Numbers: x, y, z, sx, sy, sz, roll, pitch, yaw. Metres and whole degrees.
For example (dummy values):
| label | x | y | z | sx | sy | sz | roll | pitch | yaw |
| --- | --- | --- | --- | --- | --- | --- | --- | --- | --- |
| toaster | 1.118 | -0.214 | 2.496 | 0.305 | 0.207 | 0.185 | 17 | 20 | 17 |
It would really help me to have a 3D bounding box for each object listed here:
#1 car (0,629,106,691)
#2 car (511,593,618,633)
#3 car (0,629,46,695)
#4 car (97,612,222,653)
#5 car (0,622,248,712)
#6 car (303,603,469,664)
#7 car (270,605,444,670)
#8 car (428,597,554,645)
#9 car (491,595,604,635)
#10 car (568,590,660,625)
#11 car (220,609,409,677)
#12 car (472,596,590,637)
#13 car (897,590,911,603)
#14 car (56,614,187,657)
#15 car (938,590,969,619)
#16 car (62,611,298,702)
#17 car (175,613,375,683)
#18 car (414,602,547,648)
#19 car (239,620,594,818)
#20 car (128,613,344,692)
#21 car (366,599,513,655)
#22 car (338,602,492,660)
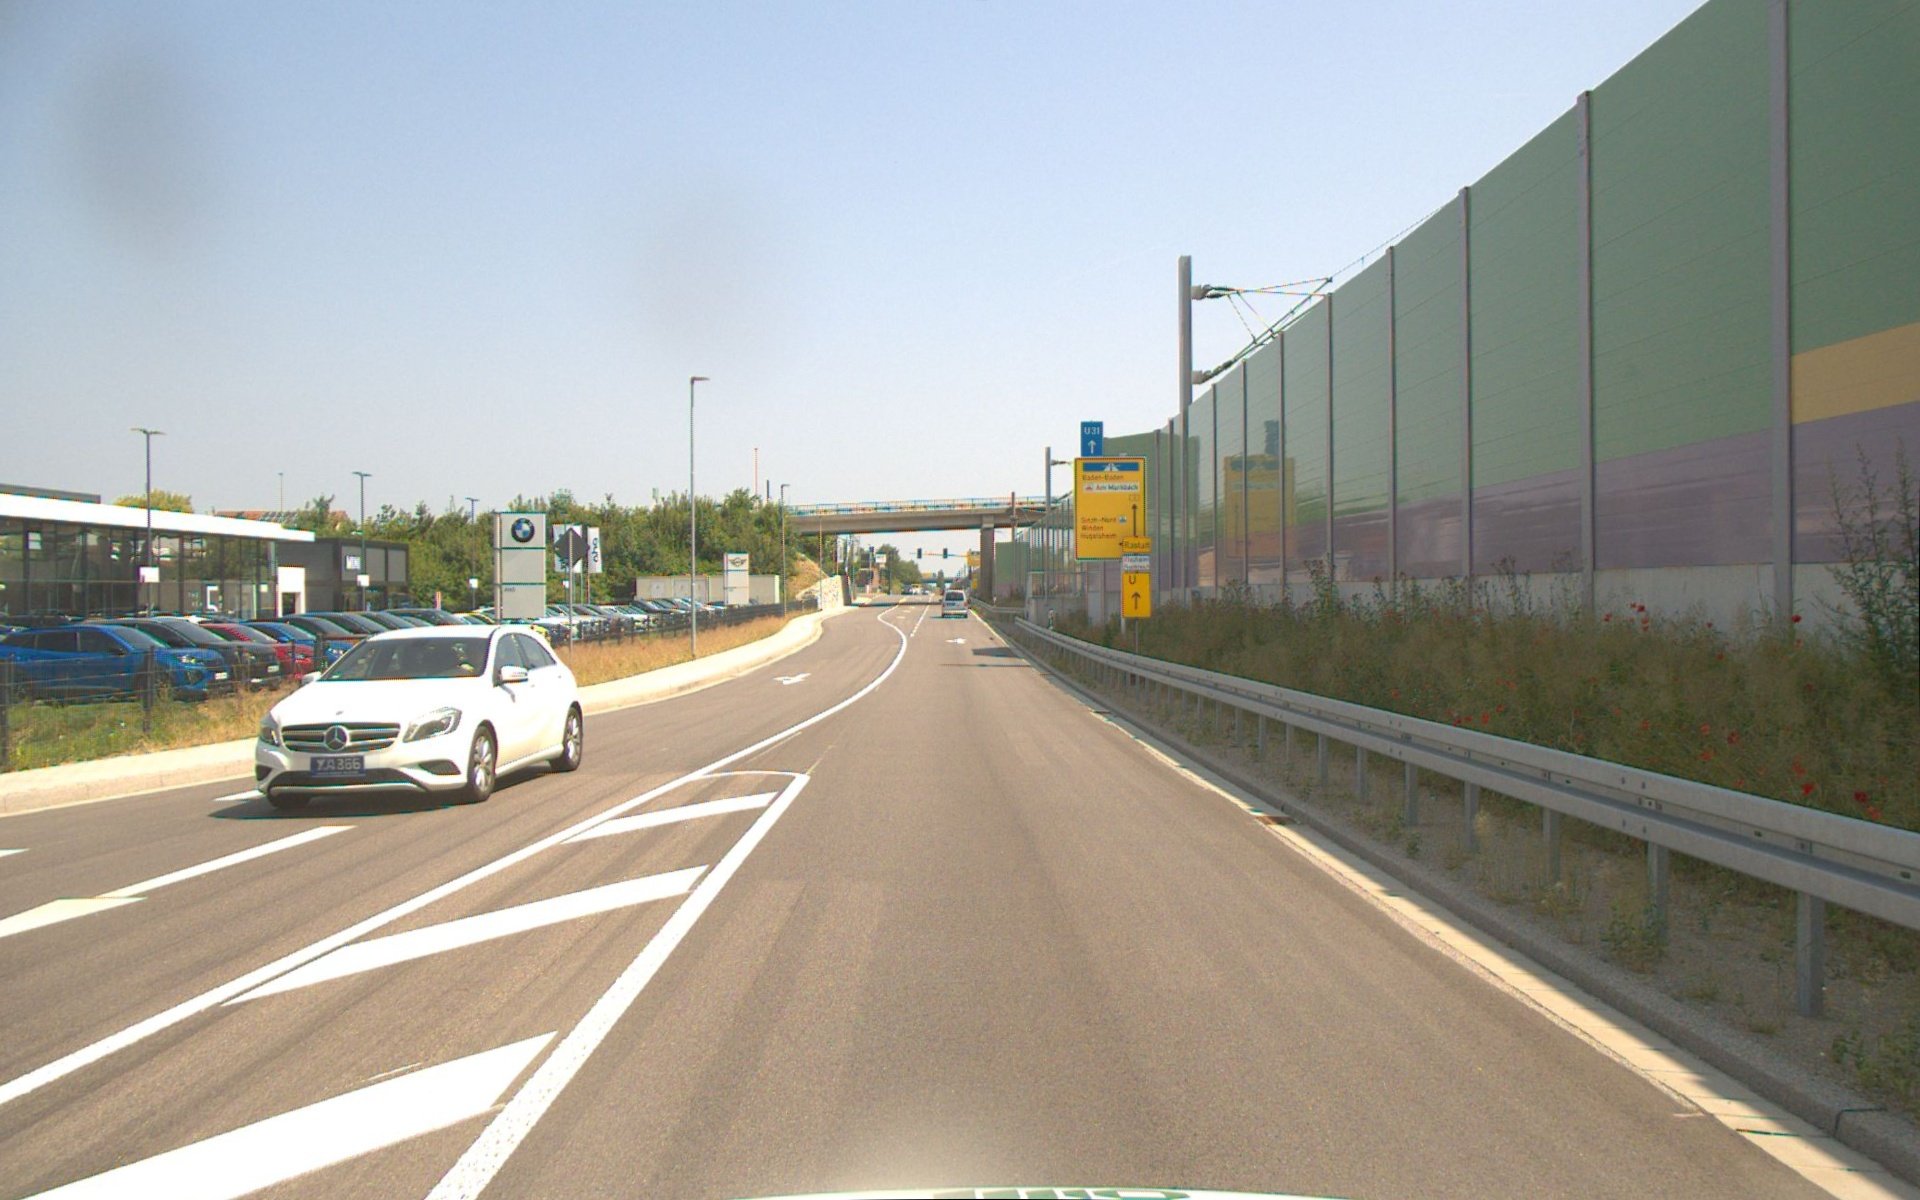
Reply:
| label | x | y | z | sx | sy | sz | roll | pitch | yaw |
| --- | --- | --- | --- | --- | --- | --- | --- | --- | --- |
| car | -25.200 | 1.607 | 44.050 | 3.907 | 1.520 | 1.815 | -1 | 1 | -3 |
| car | -16.700 | 0.531 | 69.953 | 4.079 | 1.572 | 1.815 | -1 | 1 | -1 |
| car | -25.140 | 1.564 | 40.996 | 3.907 | 1.520 | 1.815 | -1 | 1 | -3 |
| car | -32.129 | 1.299 | 66.444 | 4.079 | 1.492 | 1.815 | -1 | 1 | -1 |
| car | -15.822 | 1.245 | 31.222 | 3.907 | 1.506 | 1.910 | -1 | 1 | -3 |
| car | -15.976 | 0.913 | 46.192 | 3.907 | 1.561 | 1.971 | -1 | 1 | -3 |
| car | -15.912 | 0.962 | 43.780 | 3.907 | 1.561 | 1.815 | -1 | 1 | -3 |
| car | -16.565 | 0.741 | 58.556 | 3.905 | 1.561 | 1.815 | -1 | 1 | -1 |
| car | -16.720 | 0.583 | 67.192 | 4.079 | 1.492 | 1.815 | -1 | 1 | -1 |
| car | -16.772 | 0.340 | 80.296 | 4.079 | 1.572 | 1.815 | -1 | 1 | -1 |
| car | -15.988 | 1.046 | 41.124 | 3.907 | 1.520 | 1.914 | -1 | 1 | -3 |
| car | -16.665 | 0.634 | 64.385 | 4.079 | 1.492 | 1.815 | -1 | 1 | -1 |
| car | -8.402 | -0.530 | 249.013 | 1.953 | 1.960 | 3.999 | -1 | 0 | -1 |
| car | -32.320 | 1.352 | 63.834 | 4.079 | 1.492 | 1.815 | -1 | 1 | -1 |
| car | -0.433 | 0.285 | 109.148 | 1.952 | 1.788 | 4.001 | 0 | 1 | 1 |
| car | -15.834 | 1.124 | 33.717 | 3.907 | 1.664 | 1.815 | -1 | 1 | -3 |
| car | -15.971 | 1.100 | 38.702 | 3.907 | 1.470 | 1.786 | -1 | 1 | -3 |
| car | -16.213 | 0.845 | 56.065 | 3.905 | 1.415 | 1.879 | -1 | 1 | 0 |
| car | -4.620 | 0.939 | 14.718 | 1.744 | 1.440 | 4.050 | -1 | 0 | 1 |
| car | -15.860 | 1.123 | 36.360 | 3.907 | 1.555 | 1.815 | -1 | 1 | -3 |
| car | -16.187 | 0.826 | 51.578 | 3.907 | 1.599 | 2.053 | -1 | 1 | -3 |
| car | -16.046 | 0.886 | 48.850 | 3.907 | 1.561 | 1.815 | -1 | 1 | -3 |
